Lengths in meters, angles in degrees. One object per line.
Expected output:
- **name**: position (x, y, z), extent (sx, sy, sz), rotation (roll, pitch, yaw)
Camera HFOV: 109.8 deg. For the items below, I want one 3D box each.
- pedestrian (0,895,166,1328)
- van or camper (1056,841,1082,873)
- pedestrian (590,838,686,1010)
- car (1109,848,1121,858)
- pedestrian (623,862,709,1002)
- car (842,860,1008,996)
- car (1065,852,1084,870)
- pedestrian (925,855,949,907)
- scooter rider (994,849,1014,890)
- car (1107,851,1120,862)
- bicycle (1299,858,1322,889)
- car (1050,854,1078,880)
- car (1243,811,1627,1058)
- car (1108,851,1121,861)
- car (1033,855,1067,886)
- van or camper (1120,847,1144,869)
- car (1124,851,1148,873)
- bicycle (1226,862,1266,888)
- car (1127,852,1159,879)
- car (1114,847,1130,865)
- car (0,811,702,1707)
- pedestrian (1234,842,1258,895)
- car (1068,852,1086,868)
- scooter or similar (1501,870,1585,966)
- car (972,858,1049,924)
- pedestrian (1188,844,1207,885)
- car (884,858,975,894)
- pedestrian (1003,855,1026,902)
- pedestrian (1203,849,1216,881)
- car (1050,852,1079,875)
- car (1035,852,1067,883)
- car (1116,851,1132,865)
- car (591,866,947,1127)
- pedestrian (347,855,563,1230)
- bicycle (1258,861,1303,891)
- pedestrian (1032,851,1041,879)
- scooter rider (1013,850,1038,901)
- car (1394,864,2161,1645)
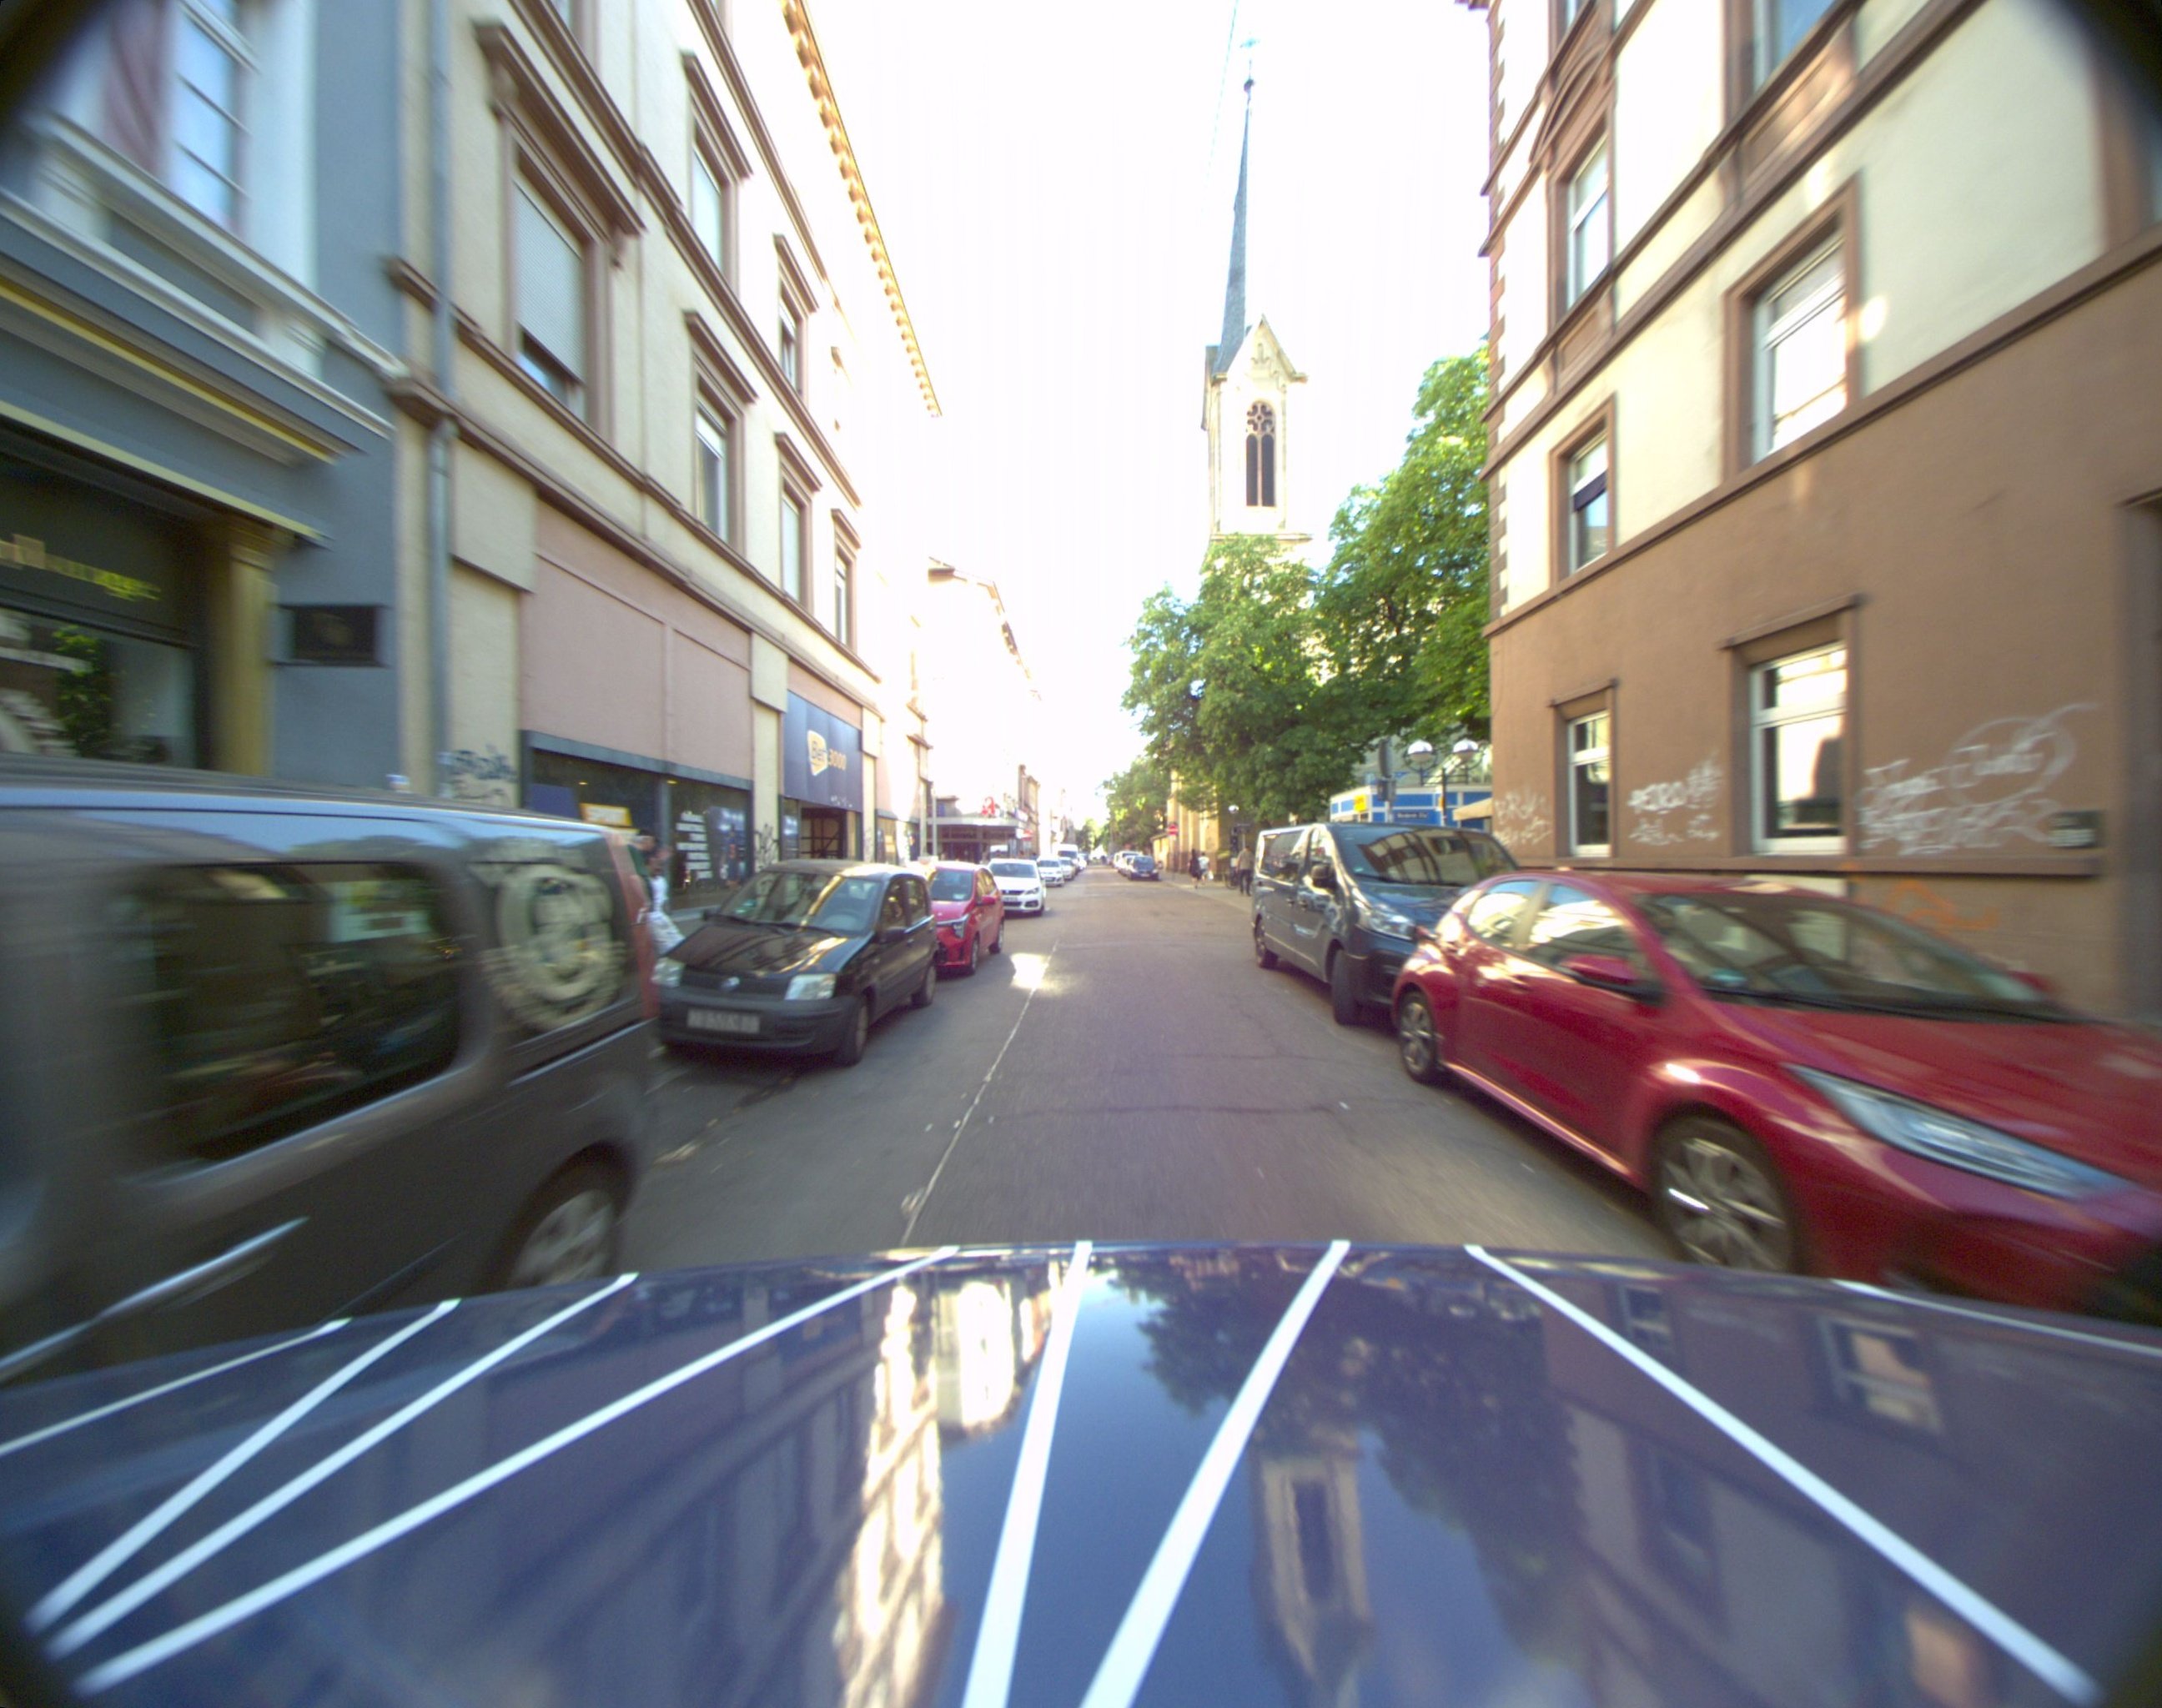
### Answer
- **pedestrian**: position (-4.536, 1.066, 3.313), extent (0.426, 1.730, 0.564), rotation (-1, 2, 30)
- **van or camper**: position (-0.991, 0.222, 65.979), extent (1.998, 2.617, 5.979), rotation (-2, 1, 2)
- **pedestrian**: position (-4.680, 0.705, 8.070), extent (0.630, 1.730, 0.658), rotation (-2, 1, -12)
- **car**: position (5.675, -0.135, 125.803), extent (1.777, 1.614, 4.022), rotation (-1, 0, 0)
- **pedestrian**: position (-4.755, 0.867, 8.735), extent (0.589, 1.521, 0.658), rotation (-2, 1, -4)
- **car**: position (-2.099, 0.937, 11.201), extent (1.610, 1.563, 3.553), rotation (-2, 1, 1)
- **car**: position (-0.609, 0.676, 74.947), extent (1.696, 1.615, 3.813), rotation (-1, 0, 2)
- **pedestrian**: position (-4.636, 0.866, 24.449), extent (0.599, 1.640, 0.466), rotation (-1, -1, 32)
- **scooter rider**: position (-3.187, 0.642, 31.521), extent (0.689, 1.638, 0.720), rotation (-2, 1, 0)
- **car**: position (4.900, 0.299, 115.312), extent (1.777, 1.614, 4.022), rotation (-1, 0, 0)
- **bicycle**: position (7.926, 0.674, 26.277), extent (0.293, 1.040, 1.579), rotation (-2, 0, 1)
- **car**: position (-1.084, 0.838, 49.962), extent (1.558, 1.518, 4.200), rotation (-2, 1, 2)
- **car**: position (3.305, 0.632, 8.547), extent (2.025, 1.868, 5.297), rotation (-2, 0, 3)
- **car**: position (5.275, 0.284, 119.962), extent (1.777, 1.614, 4.022), rotation (-1, 0, 0)
- **car**: position (-1.601, 0.825, 39.821), extent (1.693, 1.454, 3.639), rotation (-2, 1, -2)
- **van or camper**: position (4.677, 0.355, 69.623), extent (1.984, 1.940, 4.563), rotation (-1, 0, 2)
- **car**: position (4.216, 0.572, 58.921), extent (1.724, 1.558, 4.000), rotation (-2, 1, 2)
- **bicycle**: position (7.337, 0.932, 33.874), extent (1.694, 1.059, 0.346), rotation (-2, 1, -1)
- **car**: position (3.940, 0.692, 48.525), extent (1.798, 1.543, 3.834), rotation (-2, 1, 2)
- **car**: position (4.901, 0.252, 91.327), extent (1.777, 2.128, 4.022), rotation (-1, 0, 2)
- **car**: position (-2.484, 0.863, 0.784), extent (1.904, 1.783, 4.314), rotation (-2, 1, 1)
- **pedestrian**: position (5.867, 0.498, 27.044), extent (0.648, 1.823, 0.697), rotation (-3, 1, 1)
- **car**: position (-0.384, 0.636, 80.242), extent (1.696, 1.615, 3.963), rotation (-1, 0, 2)
- **scooter or similar**: position (6.493, 0.858, 10.737), extent (0.348, 1.209, 1.391), rotation (-2, 1, 1)
- **car**: position (-1.844, 0.938, 21.098), extent (1.791, 1.507, 4.135), rotation (-2, 1, -1)
- **pedestrian**: position (5.412, 0.499, 35.411), extent (0.718, 1.862, 0.720), rotation (-2, 1, 1)
- **car**: position (-6.616, 0.949, 33.464), extent (3.582, 1.477, 1.789), rotation (-1, 1, 1)
- **pedestrian**: position (-2.386, 0.879, 27.411), extent (0.566, 1.629, 0.527), rotation (-3, 2, -44)
- **pedestrian**: position (6.598, 0.560, 39.035), extent (0.480, 1.584, 0.714), rotation (-2, 1, -2)
- **car**: position (-1.269, 0.728, 60.126), extent (1.998, 1.637, 4.563), rotation (-2, 1, 2)
- **car**: position (-1.729, 0.768, 44.860), extent (1.704, 1.641, 4.063), rotation (-2, 1, 0)
- **car**: position (4.801, 0.480, 85.917), extent (1.696, 1.529, 3.813), rotation (-1, 0, 2)
- **car**: position (-2.365, 0.966, 6.670), extent (1.573, 1.548, 3.314), rotation (2, 1, 3)
- **pedestrian**: position (-3.069, 0.866, 3.783), extent (0.442, 1.694, 0.654), rotation (-2, 1, 2)
- **bicycle**: position (7.381, 0.822, 28.159), extent (1.576, 1.076, 0.347), rotation (-2, 1, 12)
- **pedestrian**: position (-3.040, 0.717, 51.794), extent (0.563, 1.883, 0.530), rotation (-2, 1, 1)
- **scooter rider**: position (-1.983, 0.770, 27.211), extent (0.609, 1.768, 0.566), rotation (-1, 2, 41)
- **car**: position (3.107, 0.894, 3.485), extent (1.755, 1.513, 3.868), rotation (2, 1, 1)
